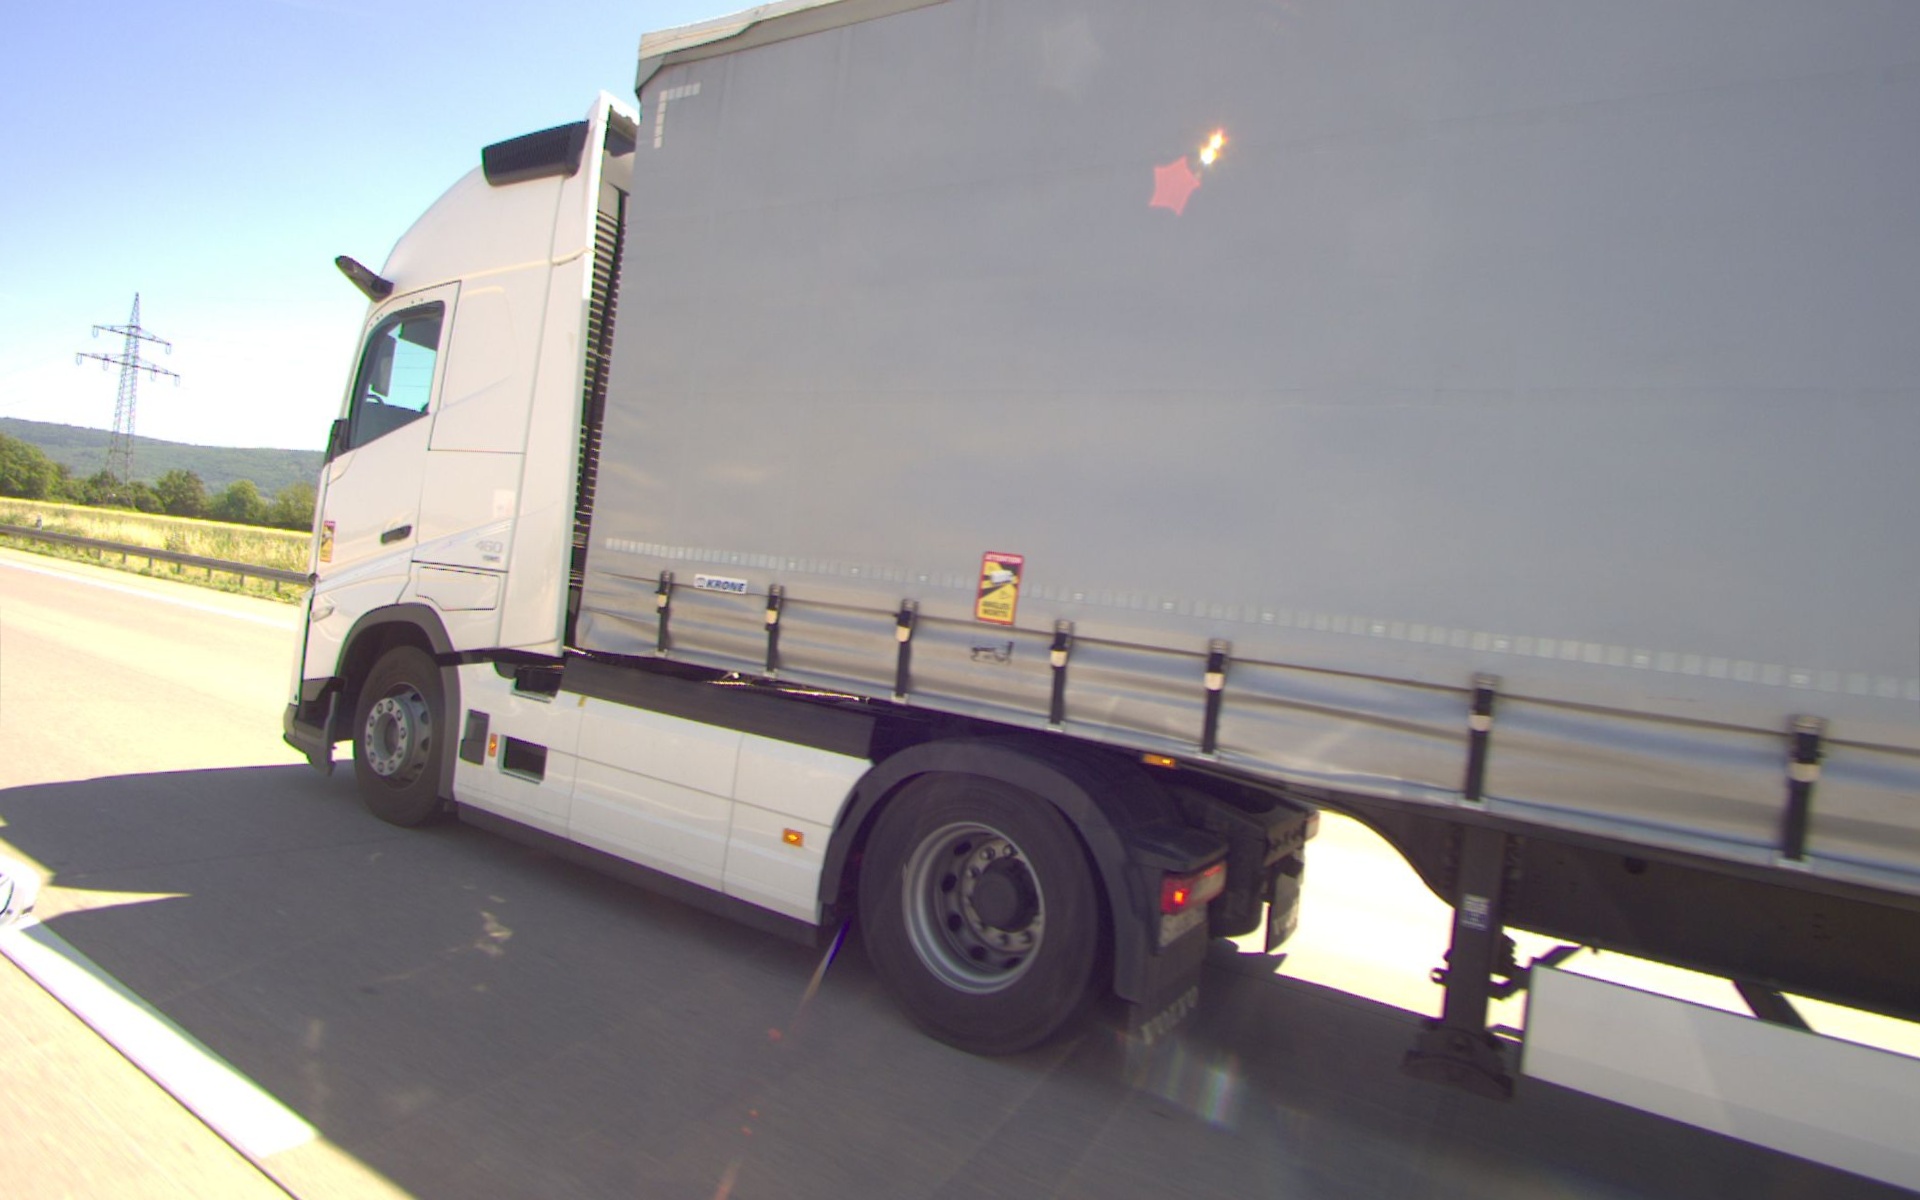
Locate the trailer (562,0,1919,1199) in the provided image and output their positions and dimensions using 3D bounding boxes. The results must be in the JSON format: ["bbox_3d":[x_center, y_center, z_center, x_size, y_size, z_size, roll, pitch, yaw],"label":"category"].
[{"bbox_3d":[5.188,0.155,2.125,13.970,4.108,3.024,7,-1,31],"label":"trailer"}]

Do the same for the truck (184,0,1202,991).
[{"bbox_3d":[-1.773,-0.704,6.431,5.387,4.109,2.990,7,-1,32],"label":"truck"}]
